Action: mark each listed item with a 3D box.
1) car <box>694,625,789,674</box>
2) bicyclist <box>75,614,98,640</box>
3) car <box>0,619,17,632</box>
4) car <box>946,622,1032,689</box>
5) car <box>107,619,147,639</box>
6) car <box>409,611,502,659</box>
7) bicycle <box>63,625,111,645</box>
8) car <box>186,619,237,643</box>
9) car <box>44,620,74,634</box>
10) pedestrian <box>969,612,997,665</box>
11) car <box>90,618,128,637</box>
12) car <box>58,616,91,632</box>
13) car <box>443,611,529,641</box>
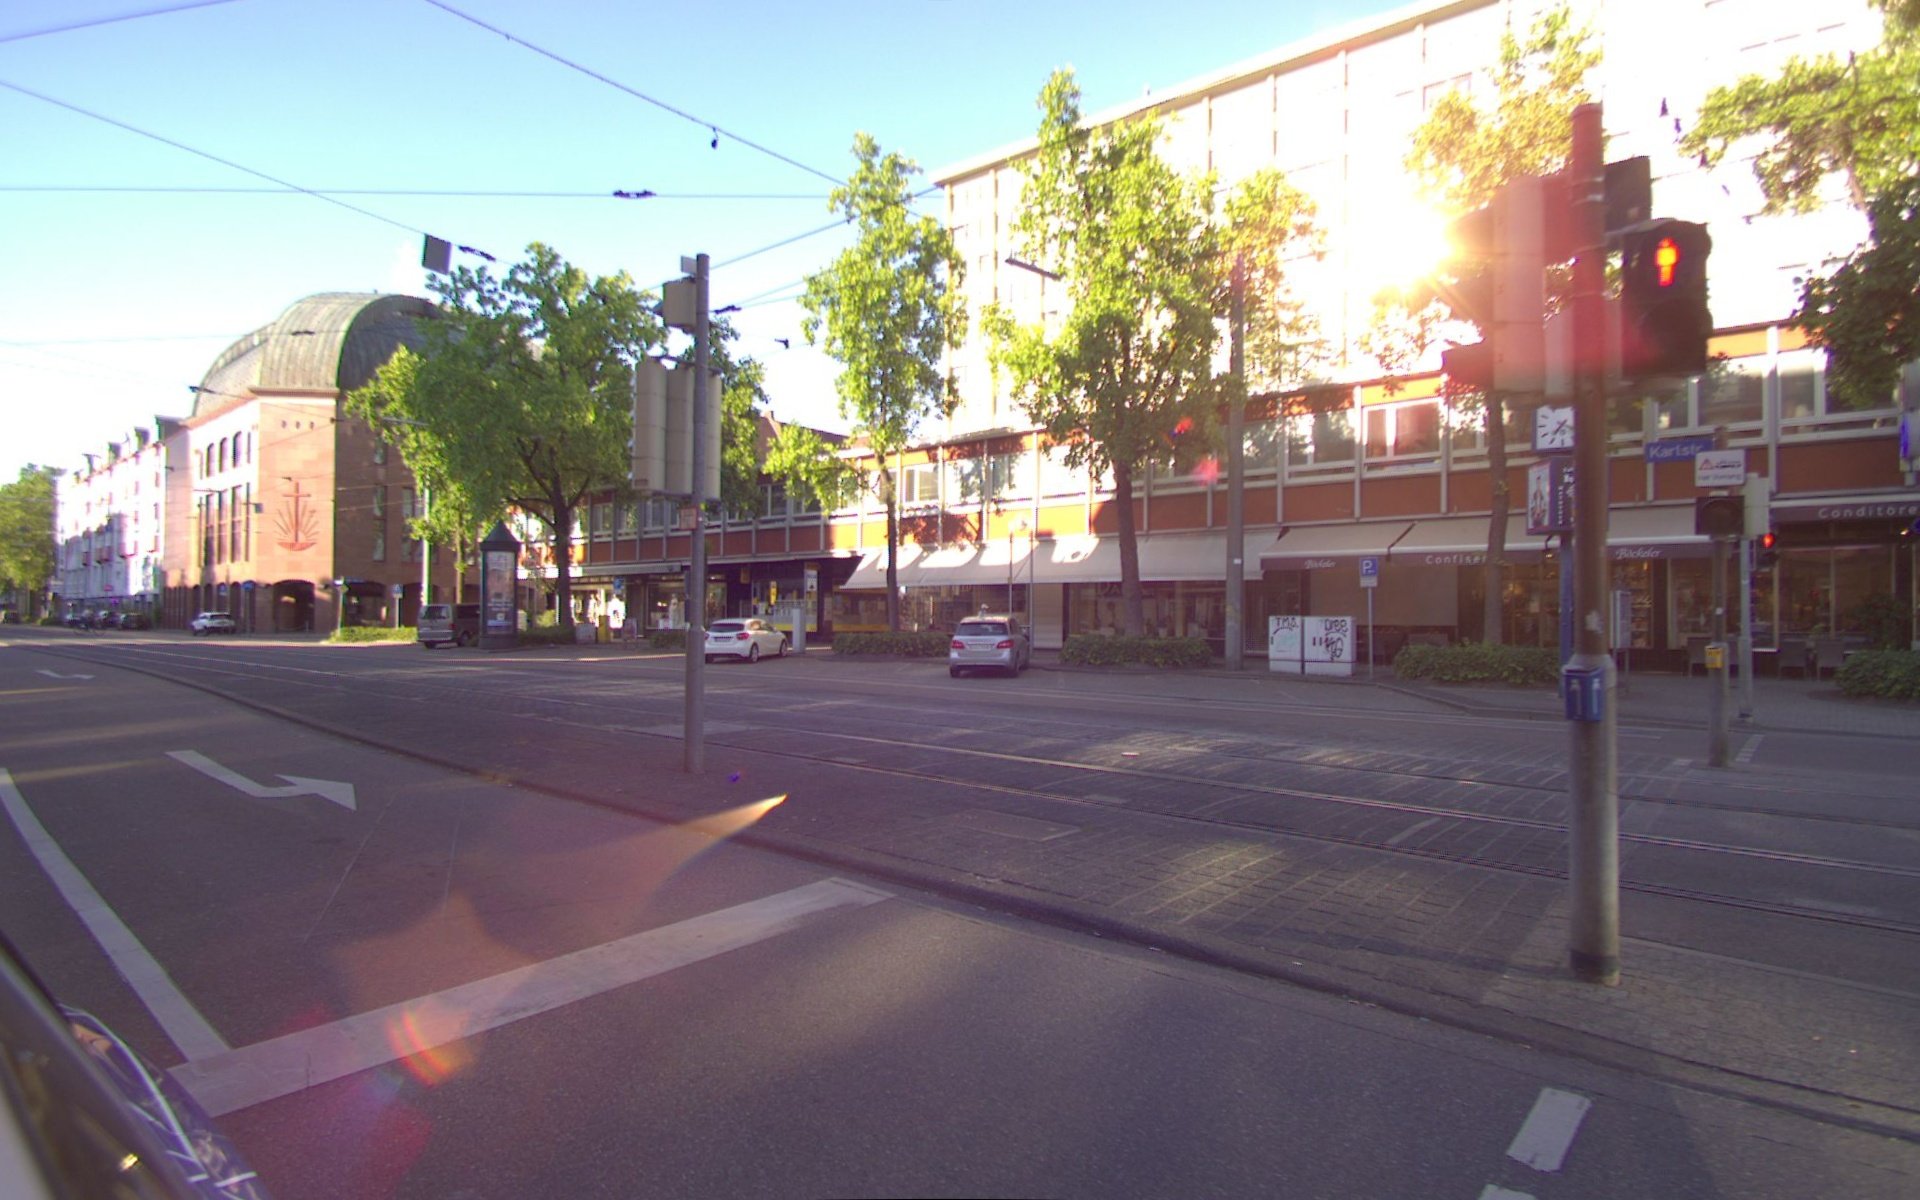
[{"bbox_3d":[-7.264,1.610,34.052,1.778,1.486,3.988,0,0,9],"label":"car"},{"bbox_3d":[-50.135,1.545,58.092,0.752,1.433,0.674,1,-1,-8],"label":"bicyclist"},{"bbox_3d":[-118.685,3.148,125.581,3.996,1.615,1.940,0,0,39],"label":"car"},{"bbox_3d":[0.847,1.419,27.103,1.778,1.566,3.988,0,0,9],"label":"car"},{"bbox_3d":[-71.987,2.452,87.431,3.996,1.615,1.940,0,0,39],"label":"car"},{"bbox_3d":[-22.479,1.515,45.262,1.888,1.979,3.992,0,0,6],"label":"car"},{"bbox_3d":[-50.089,1.999,58.086,2.006,1.100,0.674,1,-1,-7],"label":"bicycle"},{"bbox_3d":[-51.574,2.109,69.707,3.996,1.615,1.886,0,0,39],"label":"car"},{"bbox_3d":[-102.539,3.055,115.131,3.996,1.615,1.940,0,0,39],"label":"car"},{"bbox_3d":[0.789,1.318,34.585,0.626,1.782,0.771,1,-1,-33],"label":"pedestrian"},{"bbox_3d":[-76.958,2.454,91.553,3.996,1.615,1.940,0,0,39],"label":"car"},{"bbox_3d":[-91.192,2.472,104.195,3.996,1.615,1.940,0,0,39],"label":"car"},{"bbox_3d":[-32.282,1.780,69.045,1.998,2.029,4.921,-1,-2,39],"label":"car"}]
